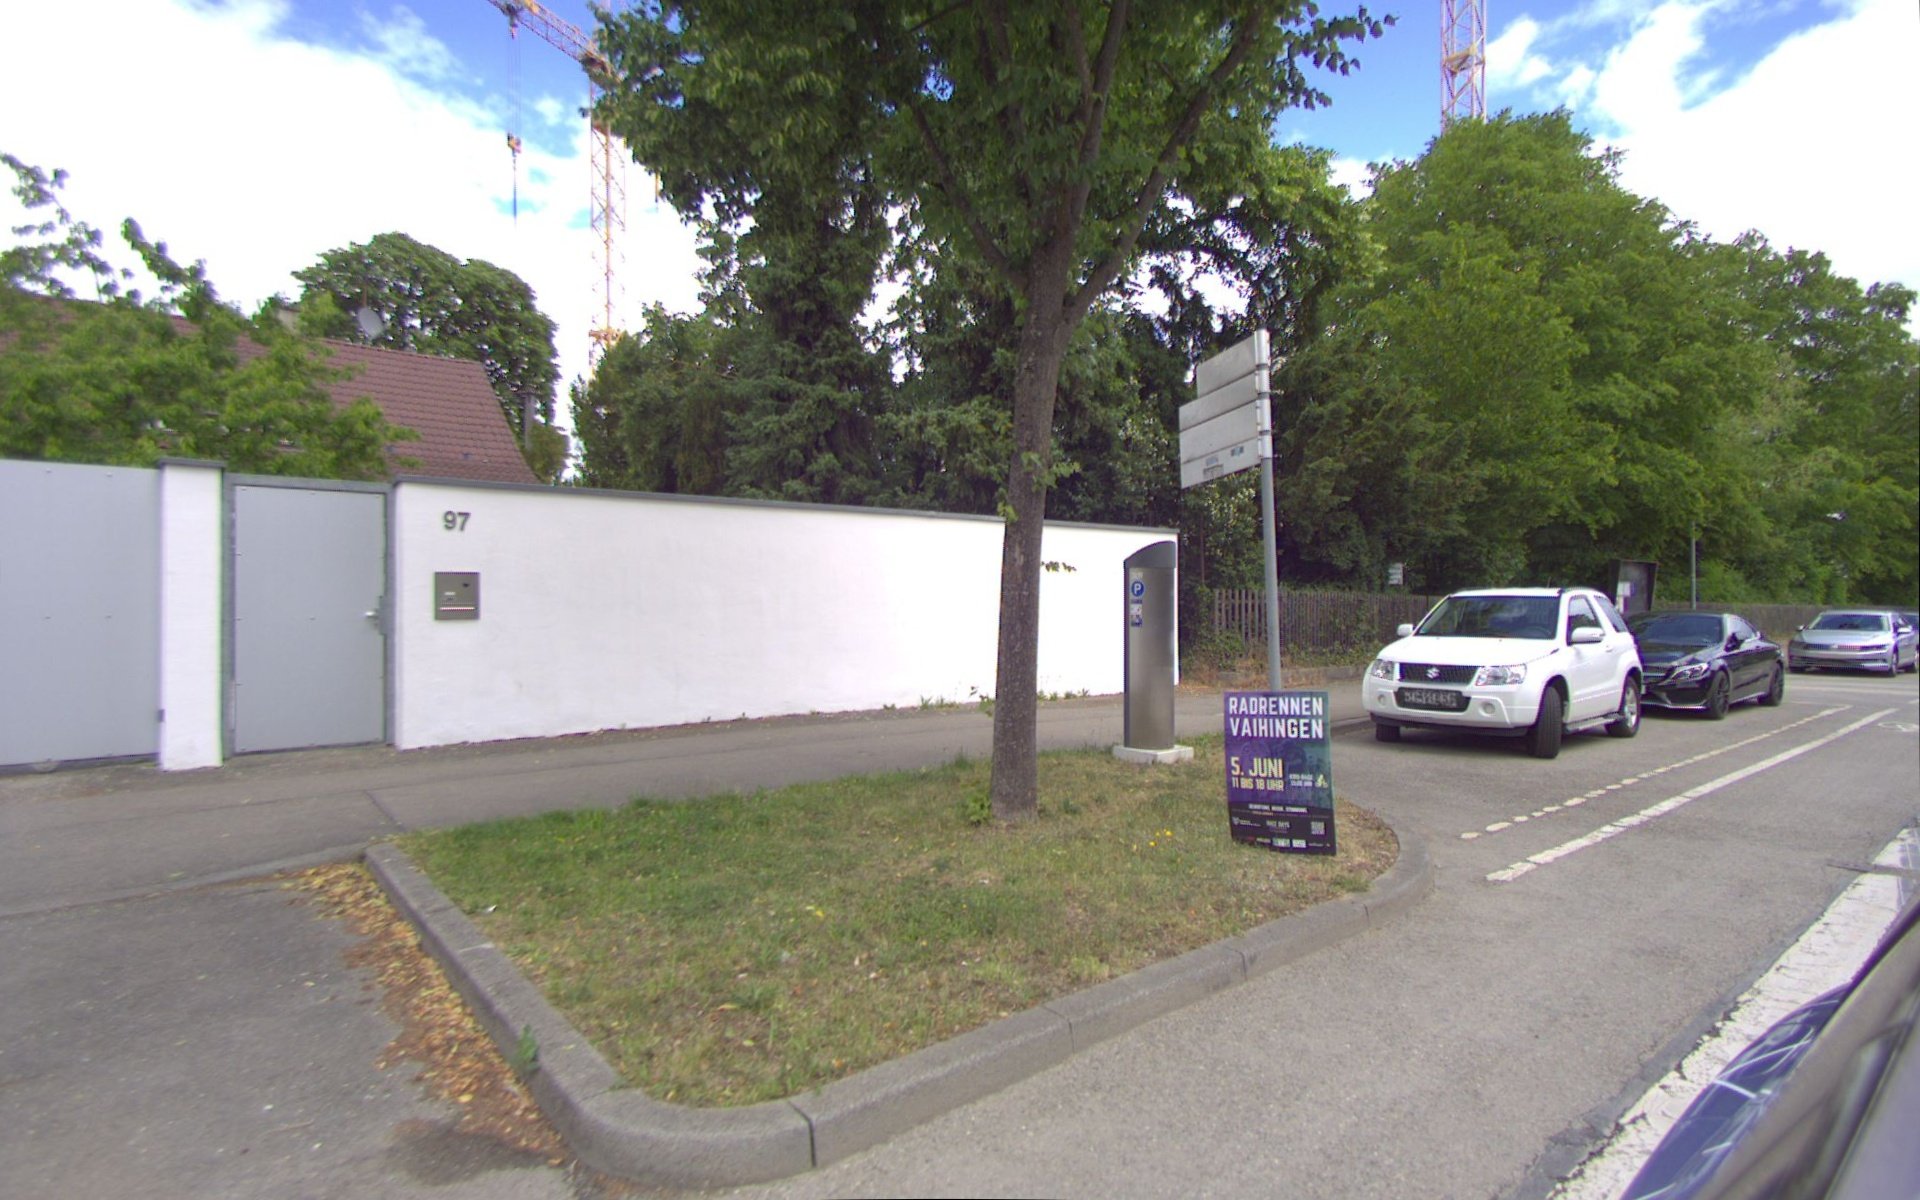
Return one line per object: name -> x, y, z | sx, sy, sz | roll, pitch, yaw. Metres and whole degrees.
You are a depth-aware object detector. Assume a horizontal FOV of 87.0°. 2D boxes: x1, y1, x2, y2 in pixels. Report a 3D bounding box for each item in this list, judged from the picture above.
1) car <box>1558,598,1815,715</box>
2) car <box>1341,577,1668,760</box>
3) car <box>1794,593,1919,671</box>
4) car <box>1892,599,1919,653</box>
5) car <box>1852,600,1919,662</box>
car -> 10.610, 0.713, 14.661 | 4.518, 1.435, 1.868 | 1, 0, -38
car -> 6.147, 0.601, 11.246 | 4.045, 1.663, 1.904 | 0, 1, -41
car -> 20.987, 0.670, 23.335 | 4.603, 1.631, 1.865 | 0, -1, -40
car -> 29.408, 0.745, 30.198 | 3.957, 1.529, 1.772 | -1, 0, -38
car -> 25.125, 0.786, 26.659 | 4.455, 1.530, 1.705 | 1, -2, -39
